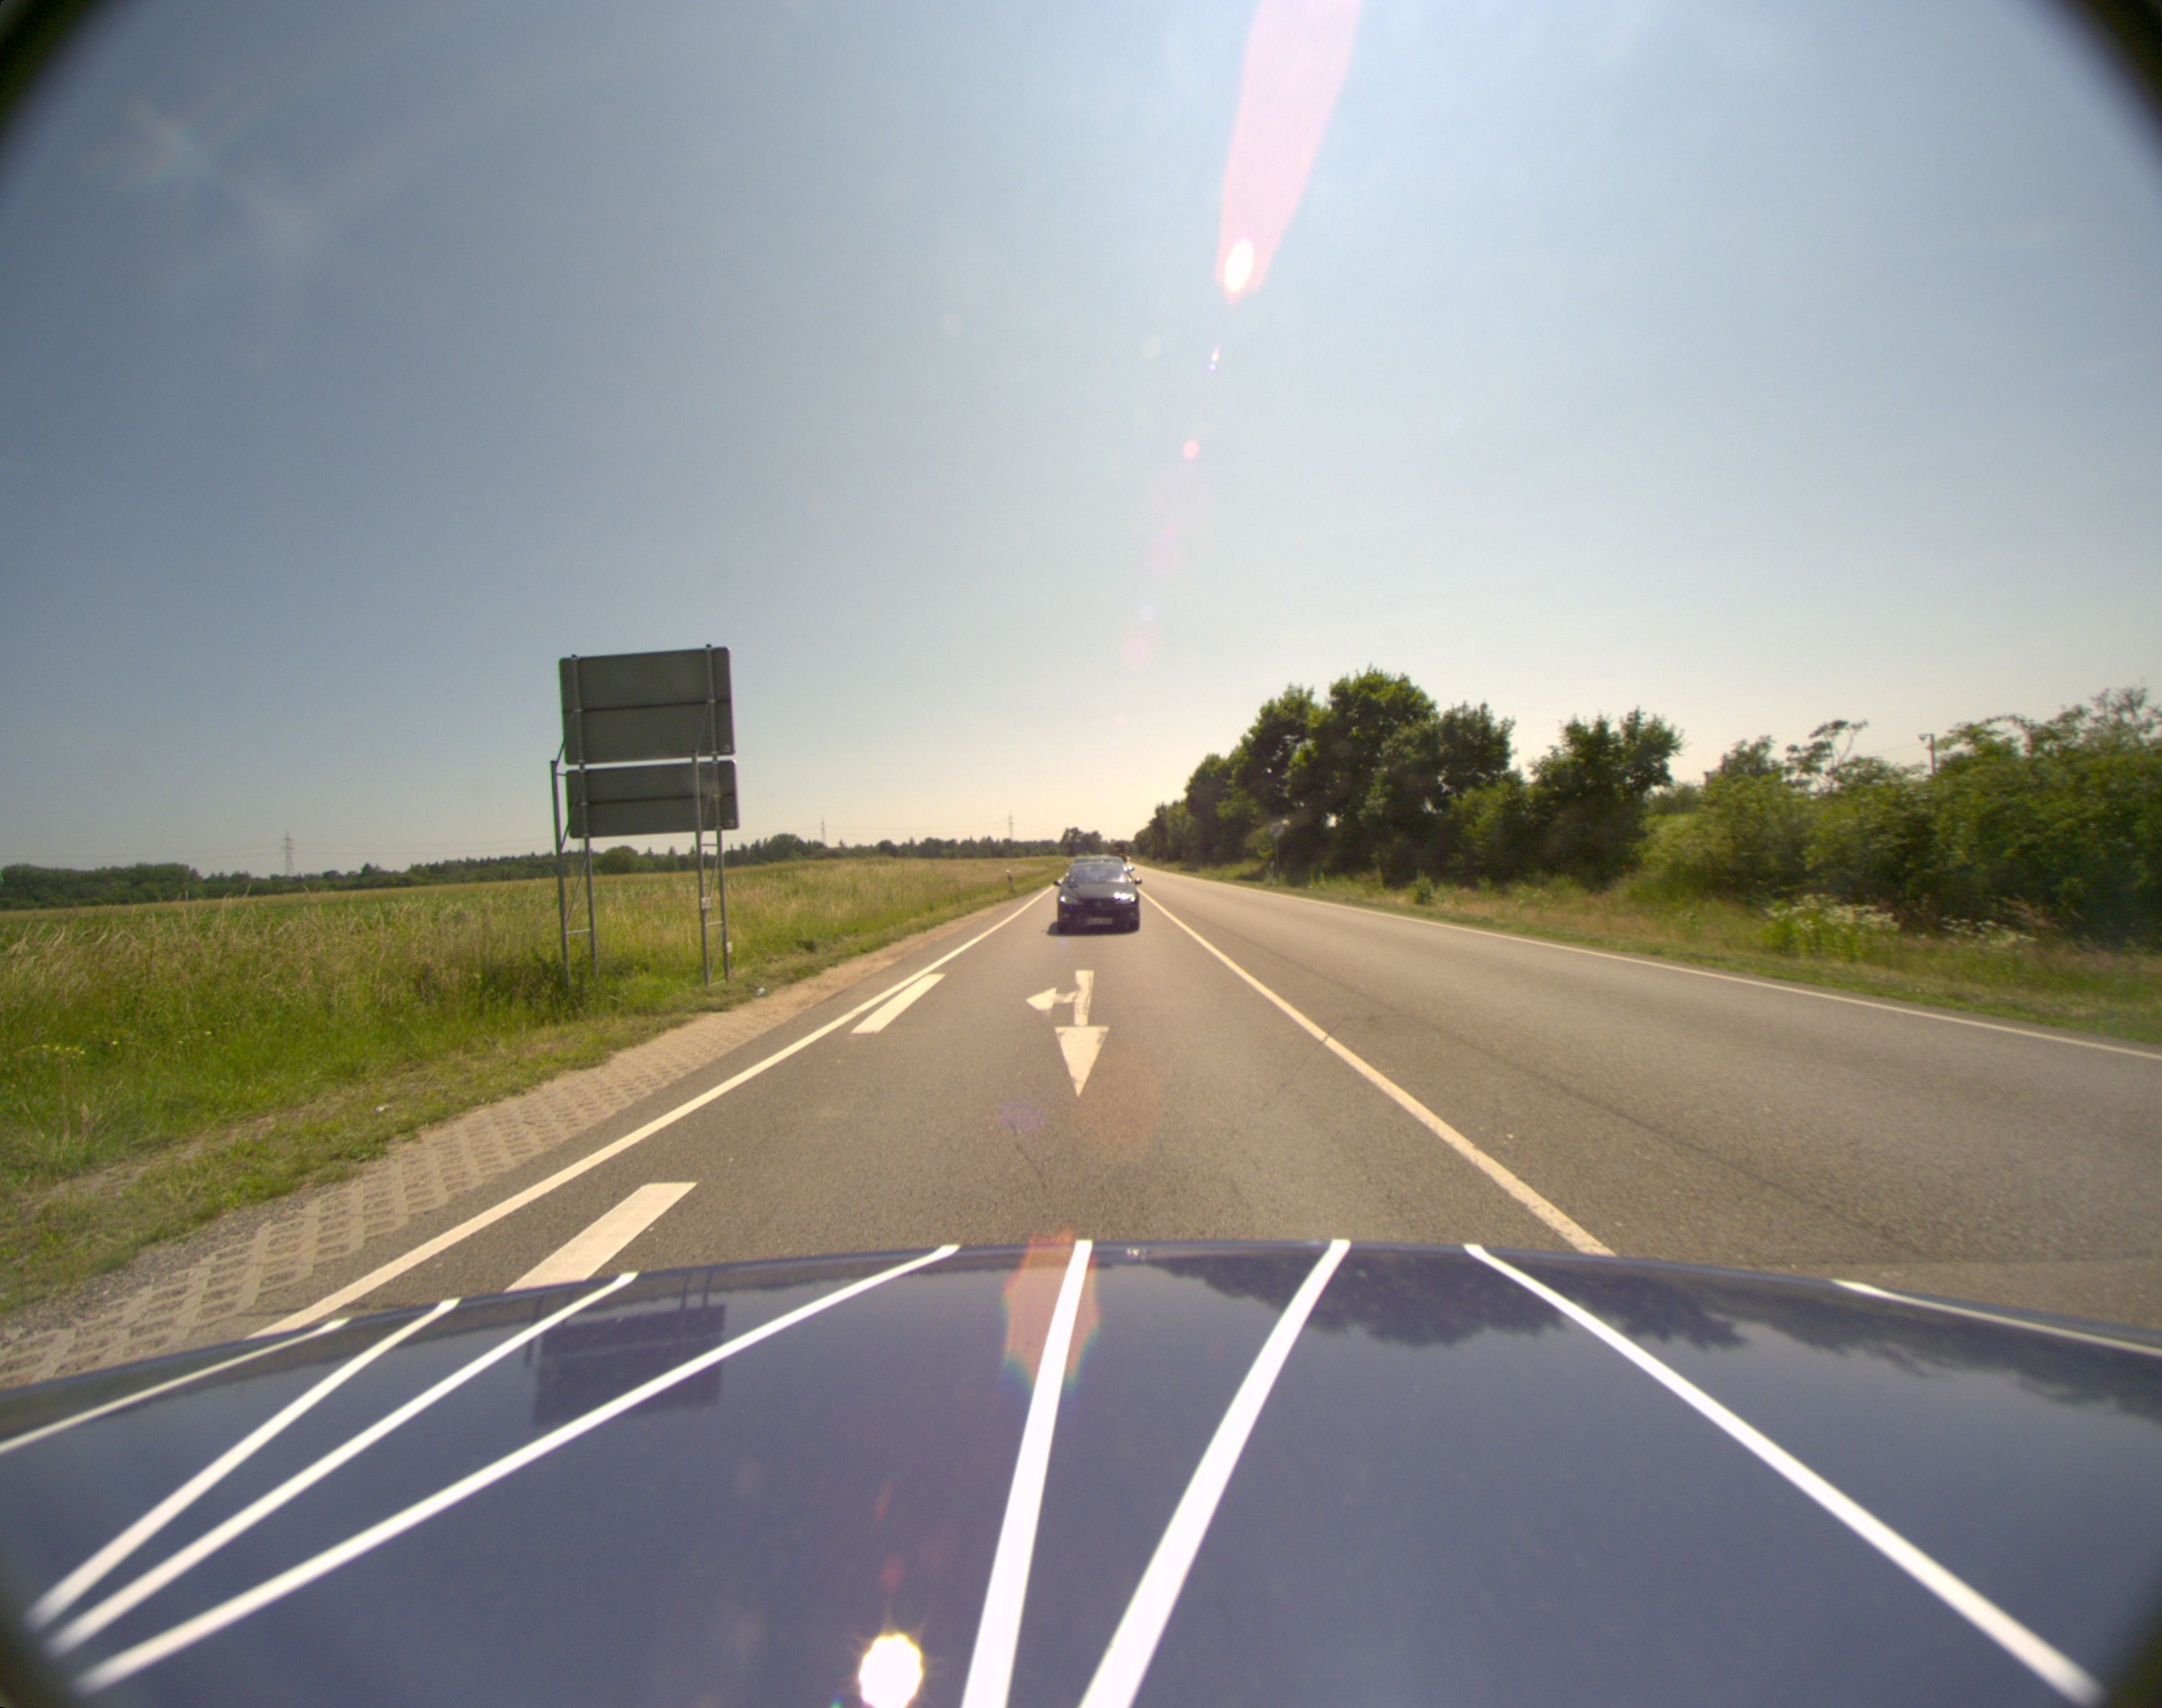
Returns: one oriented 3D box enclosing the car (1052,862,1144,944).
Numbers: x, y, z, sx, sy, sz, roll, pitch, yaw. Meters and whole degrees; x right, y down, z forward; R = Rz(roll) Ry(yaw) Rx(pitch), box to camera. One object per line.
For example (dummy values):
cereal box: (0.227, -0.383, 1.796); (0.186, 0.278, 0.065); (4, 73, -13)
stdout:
car: (0.365, 0.937, 16.037); (1.665, 1.389, 3.731); (-2, 1, 1)

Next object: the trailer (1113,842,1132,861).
trailer: (7.942, -0.464, 147.020); (2.669, 3.440, 14.948); (-1, 0, 0)

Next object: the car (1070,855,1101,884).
car: (0.224, 0.853, 43.196); (1.665, 1.449, 4.172); (-2, 1, -1)

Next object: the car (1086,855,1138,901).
car: (1.096, 0.835, 28.245); (1.665, 1.477, 3.731); (-2, 1, -1)

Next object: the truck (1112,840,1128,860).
truck: (7.909, -0.725, 154.198); (2.709, 3.908, 5.952); (-1, 0, 0)
